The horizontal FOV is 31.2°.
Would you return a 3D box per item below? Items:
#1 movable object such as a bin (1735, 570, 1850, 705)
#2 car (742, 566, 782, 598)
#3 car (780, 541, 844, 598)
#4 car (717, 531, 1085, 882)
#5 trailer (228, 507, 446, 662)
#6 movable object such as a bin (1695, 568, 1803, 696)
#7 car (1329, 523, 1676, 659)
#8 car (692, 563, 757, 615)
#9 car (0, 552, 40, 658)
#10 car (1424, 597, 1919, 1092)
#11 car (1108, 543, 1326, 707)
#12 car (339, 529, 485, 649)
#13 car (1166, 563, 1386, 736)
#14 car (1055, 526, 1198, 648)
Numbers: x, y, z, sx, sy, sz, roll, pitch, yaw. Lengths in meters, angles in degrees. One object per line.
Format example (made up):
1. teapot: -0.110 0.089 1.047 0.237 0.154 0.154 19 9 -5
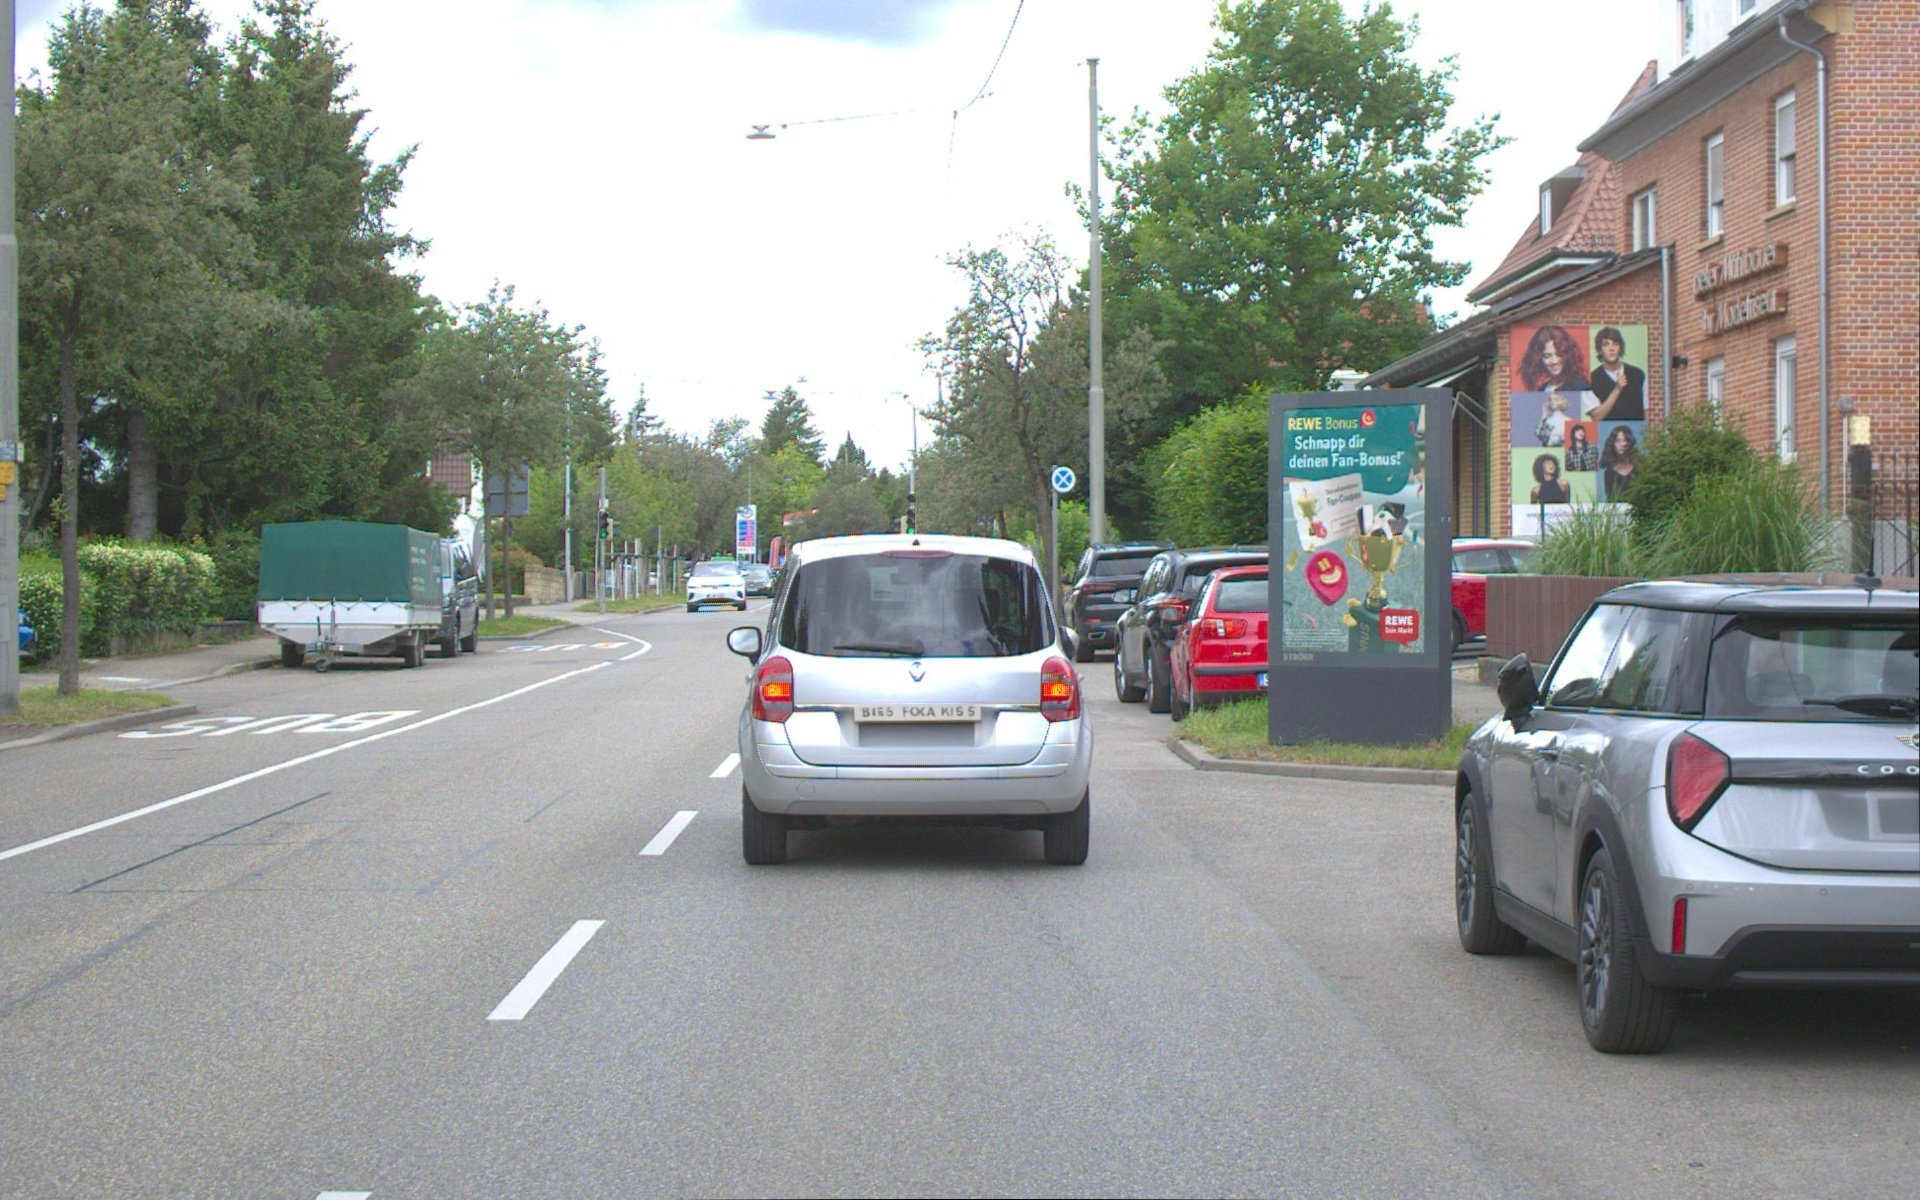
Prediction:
1. movable object such as a bin: 6.936 0.306 28.665 0.776 1.100 0.691 0 1 -2
2. car: -9.044 -0.829 157.017 1.721 1.406 4.000 1 0 -4
3. car: -4.419 -0.911 103.020 1.829 1.670 3.574 0 0 -1
4. car: -0.279 0.489 17.562 1.630 1.551 4.000 1 0 0
5. trailer: -9.031 -0.204 50.354 2.312 2.079 5.873 1 0 -2
6. movable object such as a bin: 6.917 0.272 30.161 0.776 1.100 0.691 0 1 -2
7. car: 6.965 -0.125 44.335 3.986 1.491 1.810 -3 1 -9
8. car: -7.529 -0.348 109.552 1.905 1.612 4.001 1 0 -6
9. car: -13.816 0.034 43.662 3.986 1.333 1.578 1 -1 -11
10. car: 2.683 0.694 11.617 1.650 1.378 4.000 1 0 0
11. car: 2.539 0.207 34.766 1.662 1.559 4.099 0 1 -3
12. car: -9.216 -0.175 58.144 1.887 1.915 4.562 1 0 -3
13. car: 2.740 0.396 30.466 1.662 1.388 3.667 -1 1 1
14. car: 2.463 -0.181 51.711 1.812 1.737 4.000 -1 0 -2
